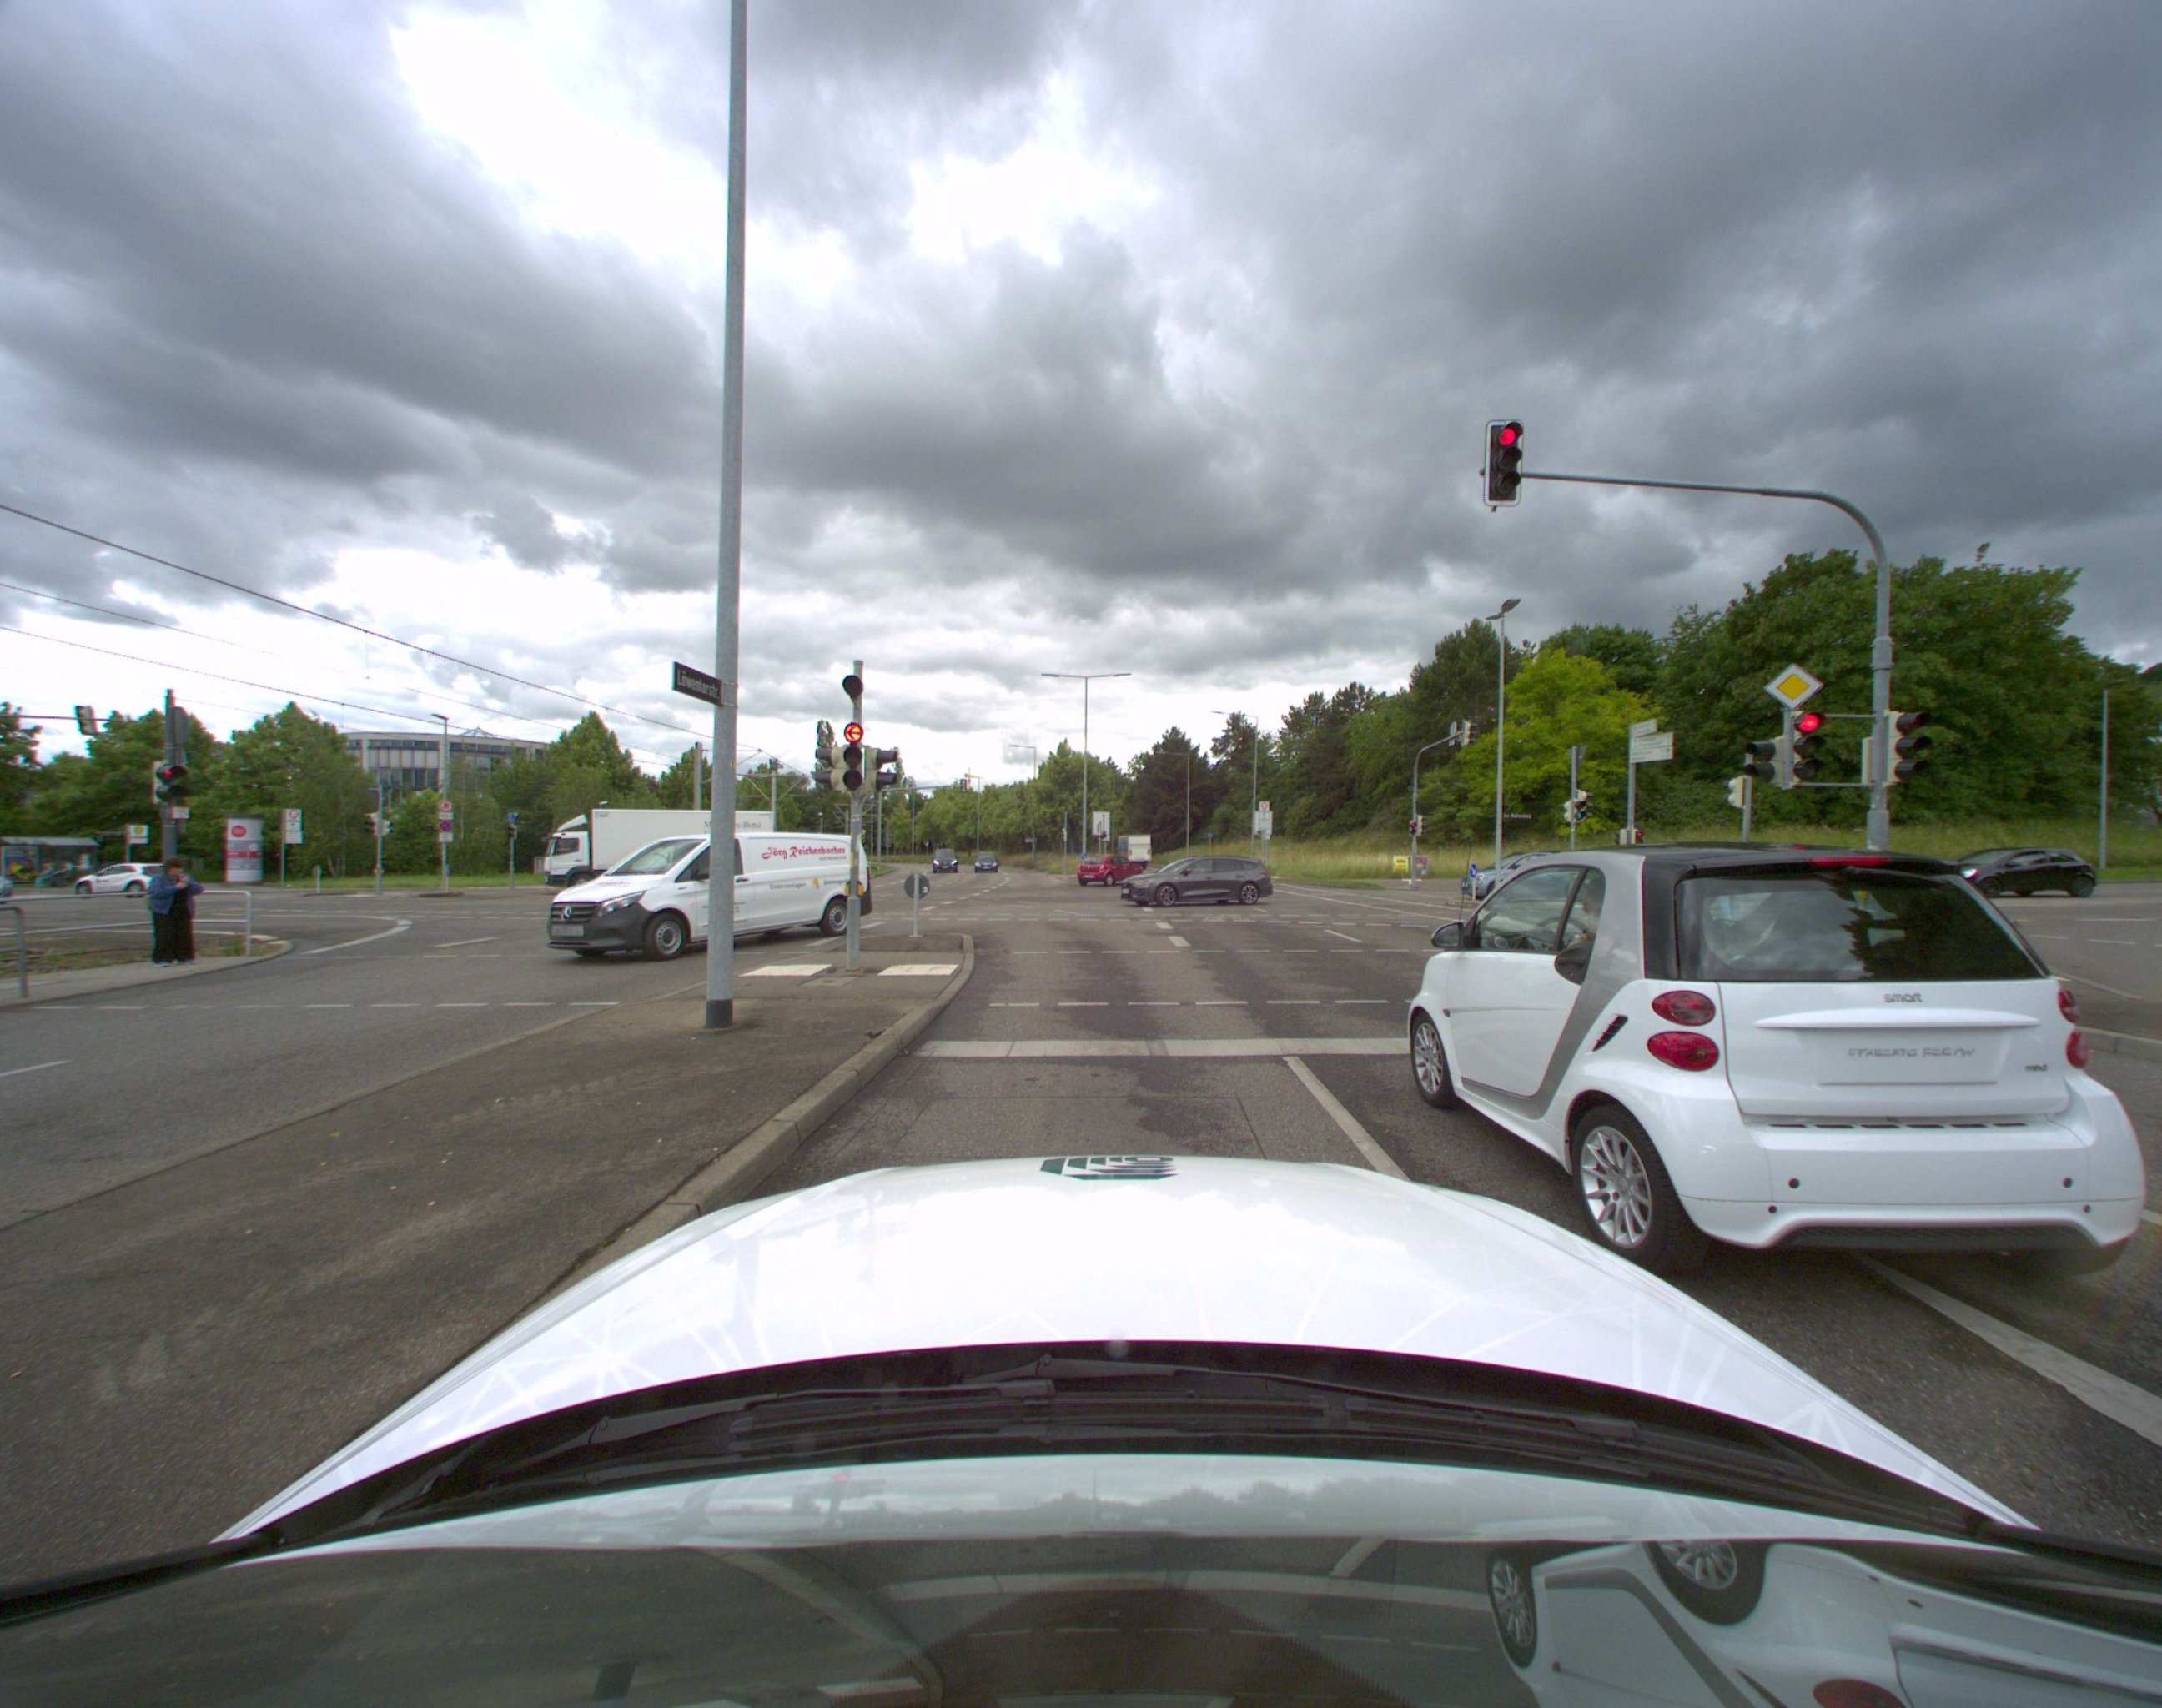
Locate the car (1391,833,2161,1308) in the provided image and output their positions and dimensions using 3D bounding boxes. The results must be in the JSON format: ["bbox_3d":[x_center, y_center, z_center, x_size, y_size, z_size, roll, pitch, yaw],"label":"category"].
[{"bbox_3d":[2.734,0.690,3.932,1.529,1.504,2.671,-1,0,2],"label":"car"}]

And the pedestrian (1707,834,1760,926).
[{"bbox_3d":[11.929,0.458,14.900,0.606,1.634,0.617,0,0,22],"label":"pedestrian"}]

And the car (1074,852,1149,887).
[{"bbox_3d":[1.569,0.735,40.449,1.710,1.516,4.026,-3,0,36],"label":"car"}]

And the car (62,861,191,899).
[{"bbox_3d":[-41.769,1.143,35.698,3.716,1.507,1.785,0,3,5],"label":"car"}]

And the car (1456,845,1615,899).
[{"bbox_3d":[14.214,0.545,25.646,3.968,1.601,1.840,0,0,4],"label":"car"}]

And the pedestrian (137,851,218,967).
[{"bbox_3d":[-12.755,0.751,11.510,0.349,1.556,0.657,1,4,36],"label":"pedestrian"}]

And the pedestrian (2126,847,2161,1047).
[{"bbox_3d":[8.177,0.677,5.932,0.607,1.453,0.355,0,0,10],"label":"pedestrian"}]

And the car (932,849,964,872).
[{"bbox_3d":[-10.391,0.519,63.913,1.910,1.728,3.998,-1,0,-1],"label":"car"}]

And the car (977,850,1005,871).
[{"bbox_3d":[-7.037,0.453,63.400,1.916,1.576,3.986,0,0,-11],"label":"car"}]

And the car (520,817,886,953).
[{"bbox_3d":[-5.928,0.497,13.708,1.975,1.815,5.469,-3,-2,28],"label":"car"}]

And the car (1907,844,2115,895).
[{"bbox_3d":[27.674,0.453,24.354,3.964,1.449,1.691,0,0,8],"label":"car"}]

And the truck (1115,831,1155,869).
[{"bbox_3d":[5.330,-0.423,81.494,2.680,3.598,7.246,-1,0,-7],"label":"truck"}]

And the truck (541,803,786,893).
[{"bbox_3d":[-18.478,-0.235,36.575,9.534,3.649,2.642,0,0,-32],"label":"truck"}]

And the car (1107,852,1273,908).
[{"bbox_3d":[3.222,0.718,24.247,4.506,1.461,1.987,-1,0,-20],"label":"car"}]

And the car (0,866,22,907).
[{"bbox_3d":[-38.460,1.107,27.516,3.963,1.377,1.522,0,0,9],"label":"car"}]
